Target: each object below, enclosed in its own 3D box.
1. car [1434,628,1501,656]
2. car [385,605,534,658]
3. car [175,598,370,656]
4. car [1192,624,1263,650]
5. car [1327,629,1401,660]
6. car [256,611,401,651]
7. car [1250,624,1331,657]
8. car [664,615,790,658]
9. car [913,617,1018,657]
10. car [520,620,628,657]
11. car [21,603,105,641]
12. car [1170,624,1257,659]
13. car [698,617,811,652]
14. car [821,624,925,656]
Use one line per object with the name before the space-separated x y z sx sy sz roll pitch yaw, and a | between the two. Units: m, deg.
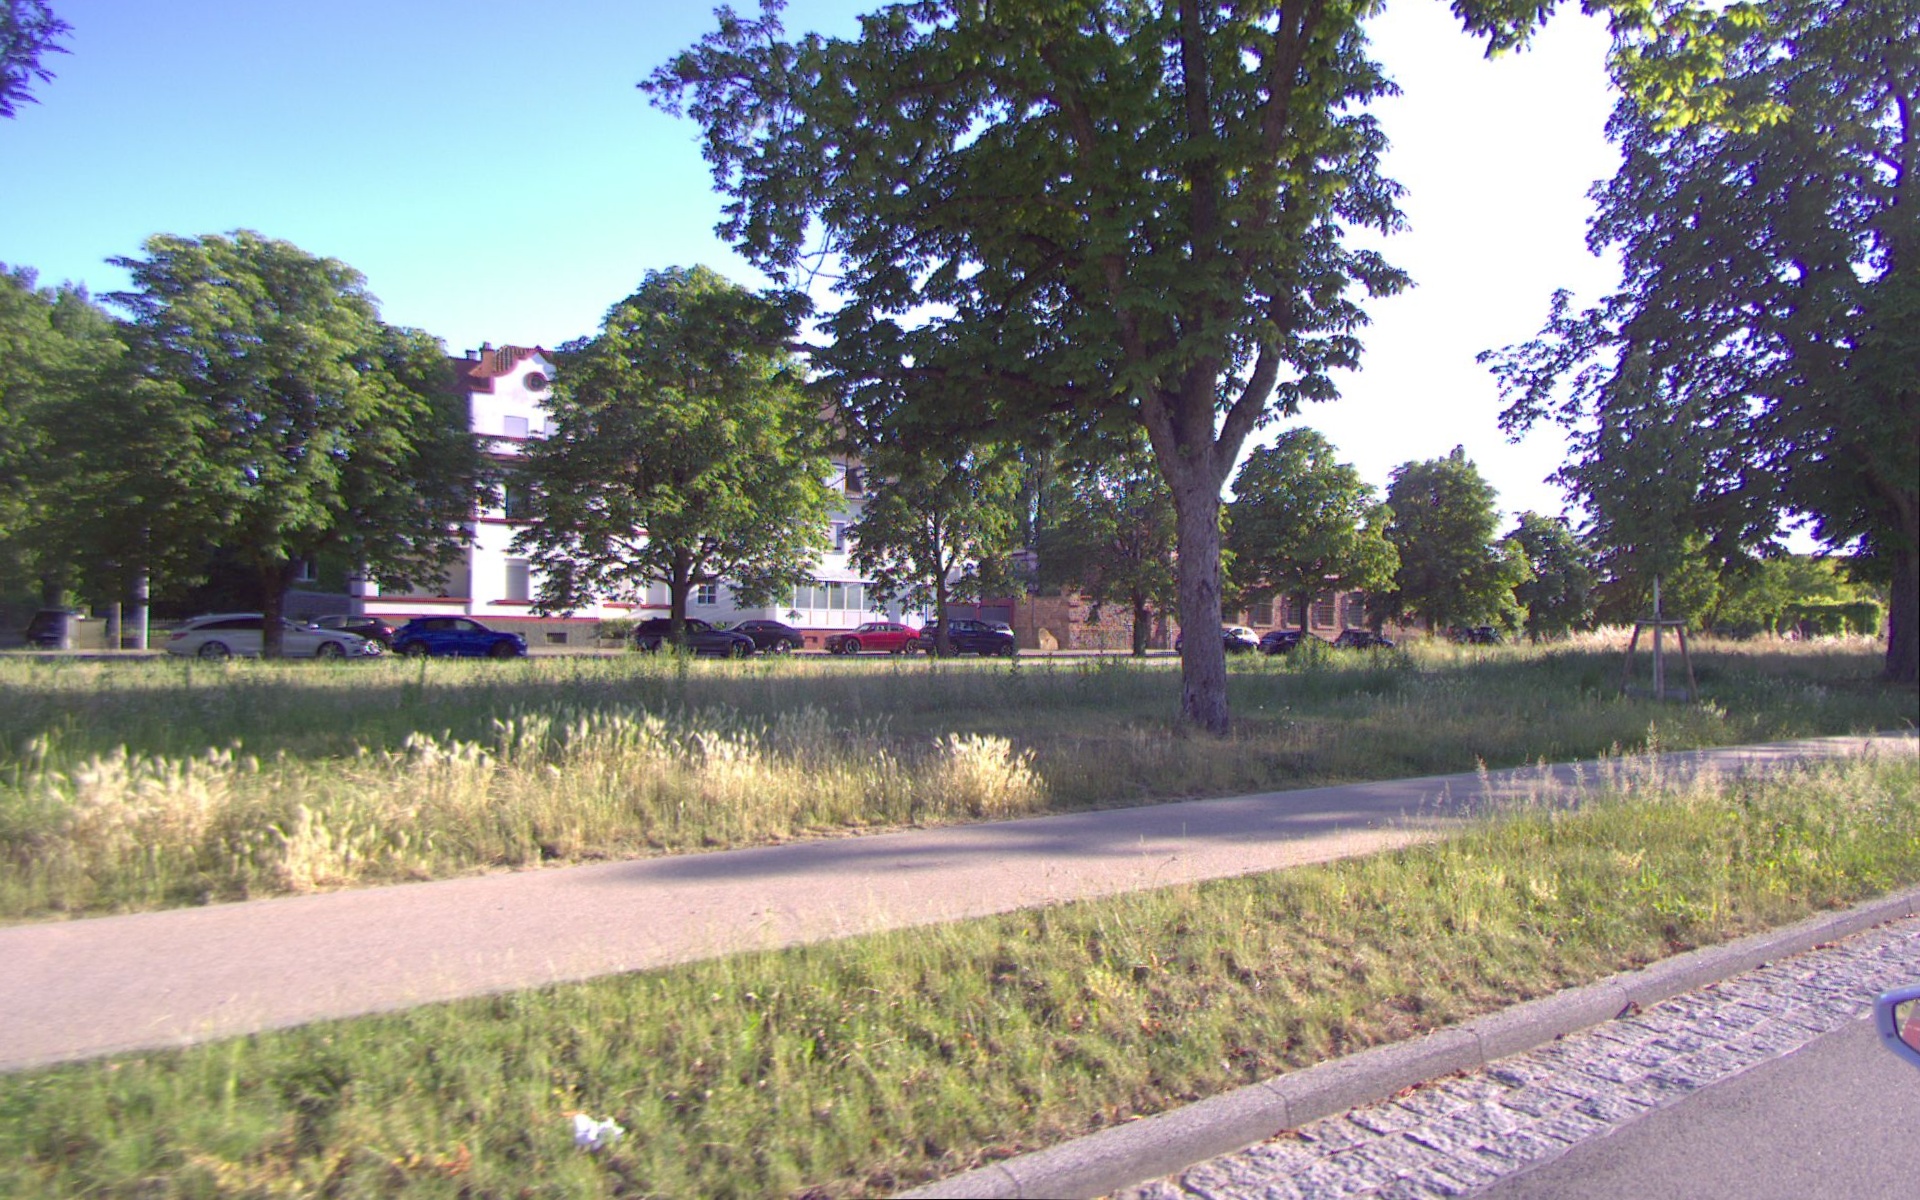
car | 30.866 2.562 61.017 4.173 1.618 1.684 2 -1 -31
car | -16.360 1.047 32.905 4.176 1.618 1.683 2 -1 -33
car | -20.595 0.836 30.330 4.706 1.618 1.683 2 -1 -33
car | 15.331 2.107 57.560 3.953 1.424 1.621 2 -1 -31
car | 22.573 2.489 56.076 4.173 1.618 1.684 2 -1 -31
car | -22.114 1.104 35.299 4.176 1.332 1.683 2 -1 -33
car | 17.272 2.110 52.456 4.173 1.618 1.684 2 -1 -31
car | -8.558 1.366 36.997 4.175 1.496 1.683 2 -1 -32
car | 0.248 1.570 42.471 4.173 1.618 1.684 2 -1 -31
car | -15.179 1.517 39.533 3.805 1.350 1.563 2 -1 -29
car | -39.552 0.973 44.400 1.810 1.576 3.971 2 -2 -28
car | 12.523 2.062 49.579 4.173 1.618 1.684 2 -1 -31
car | -8.750 1.496 42.906 4.426 1.350 1.563 2 -1 -29
car | -3.937 1.827 45.745 4.424 1.350 1.563 2 -1 -29
